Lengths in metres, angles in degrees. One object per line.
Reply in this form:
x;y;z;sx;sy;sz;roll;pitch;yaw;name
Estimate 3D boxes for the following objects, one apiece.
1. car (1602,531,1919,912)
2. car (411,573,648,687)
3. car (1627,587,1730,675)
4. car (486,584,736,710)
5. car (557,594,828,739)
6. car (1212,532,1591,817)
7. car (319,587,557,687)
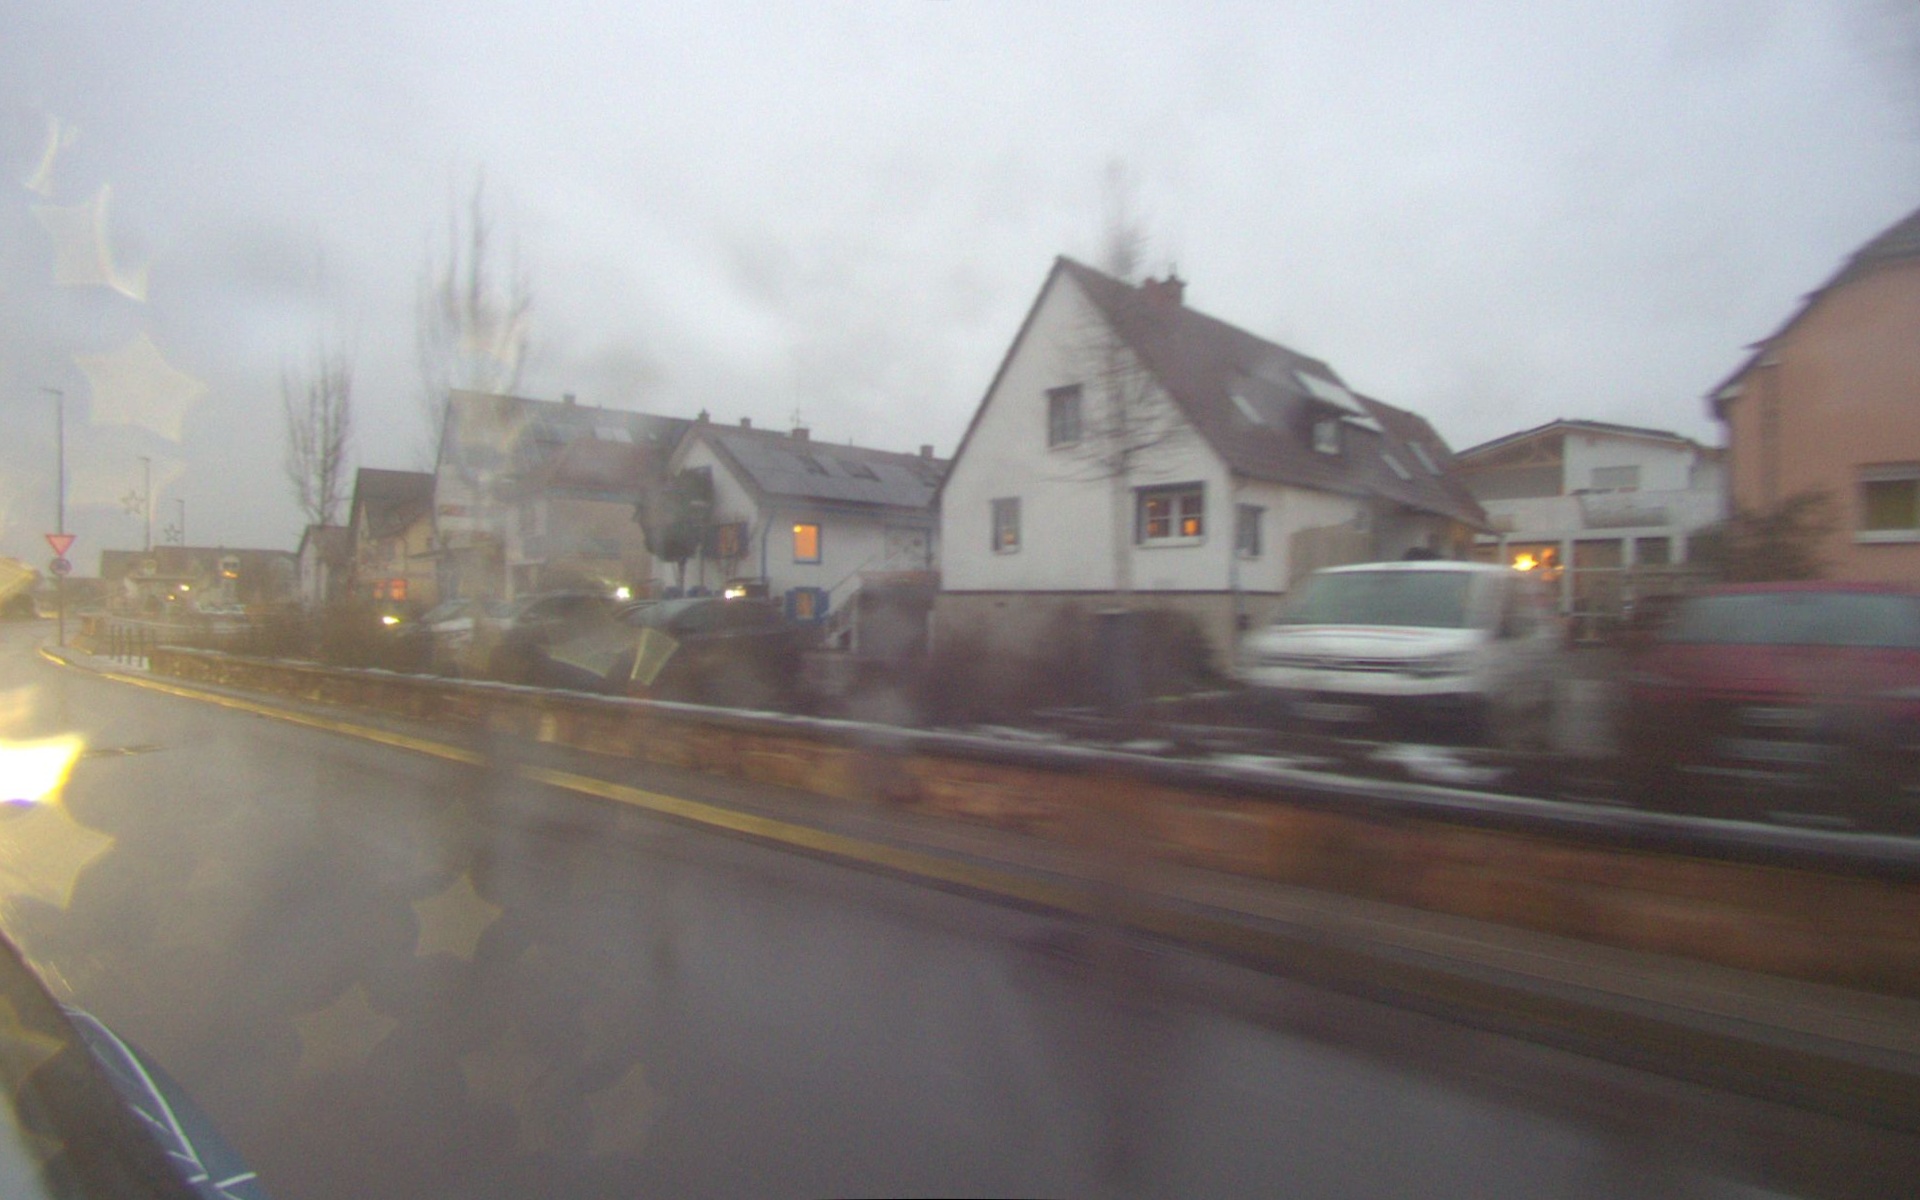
5.867;0.648;6.961;1.867;1.881;4.457;-1;-2;40;car
-8.147;0.627;19.406;1.748;1.966;3.756;-2;-4;40;car
18.153;0.778;25.503;1.809;2.029;3.946;-1;-2;40;car
-6.028;0.847;17.809;1.748;1.966;3.756;-2;-4;40;car
-4.052;1.016;15.798;1.748;1.966;3.756;-2;-4;40;car
4.008;0.532;8.738;1.843;1.815;4.368;-1;-2;40;car
-10.737;0.744;21.030;1.974;1.863;3.947;-1;-2;40;car
